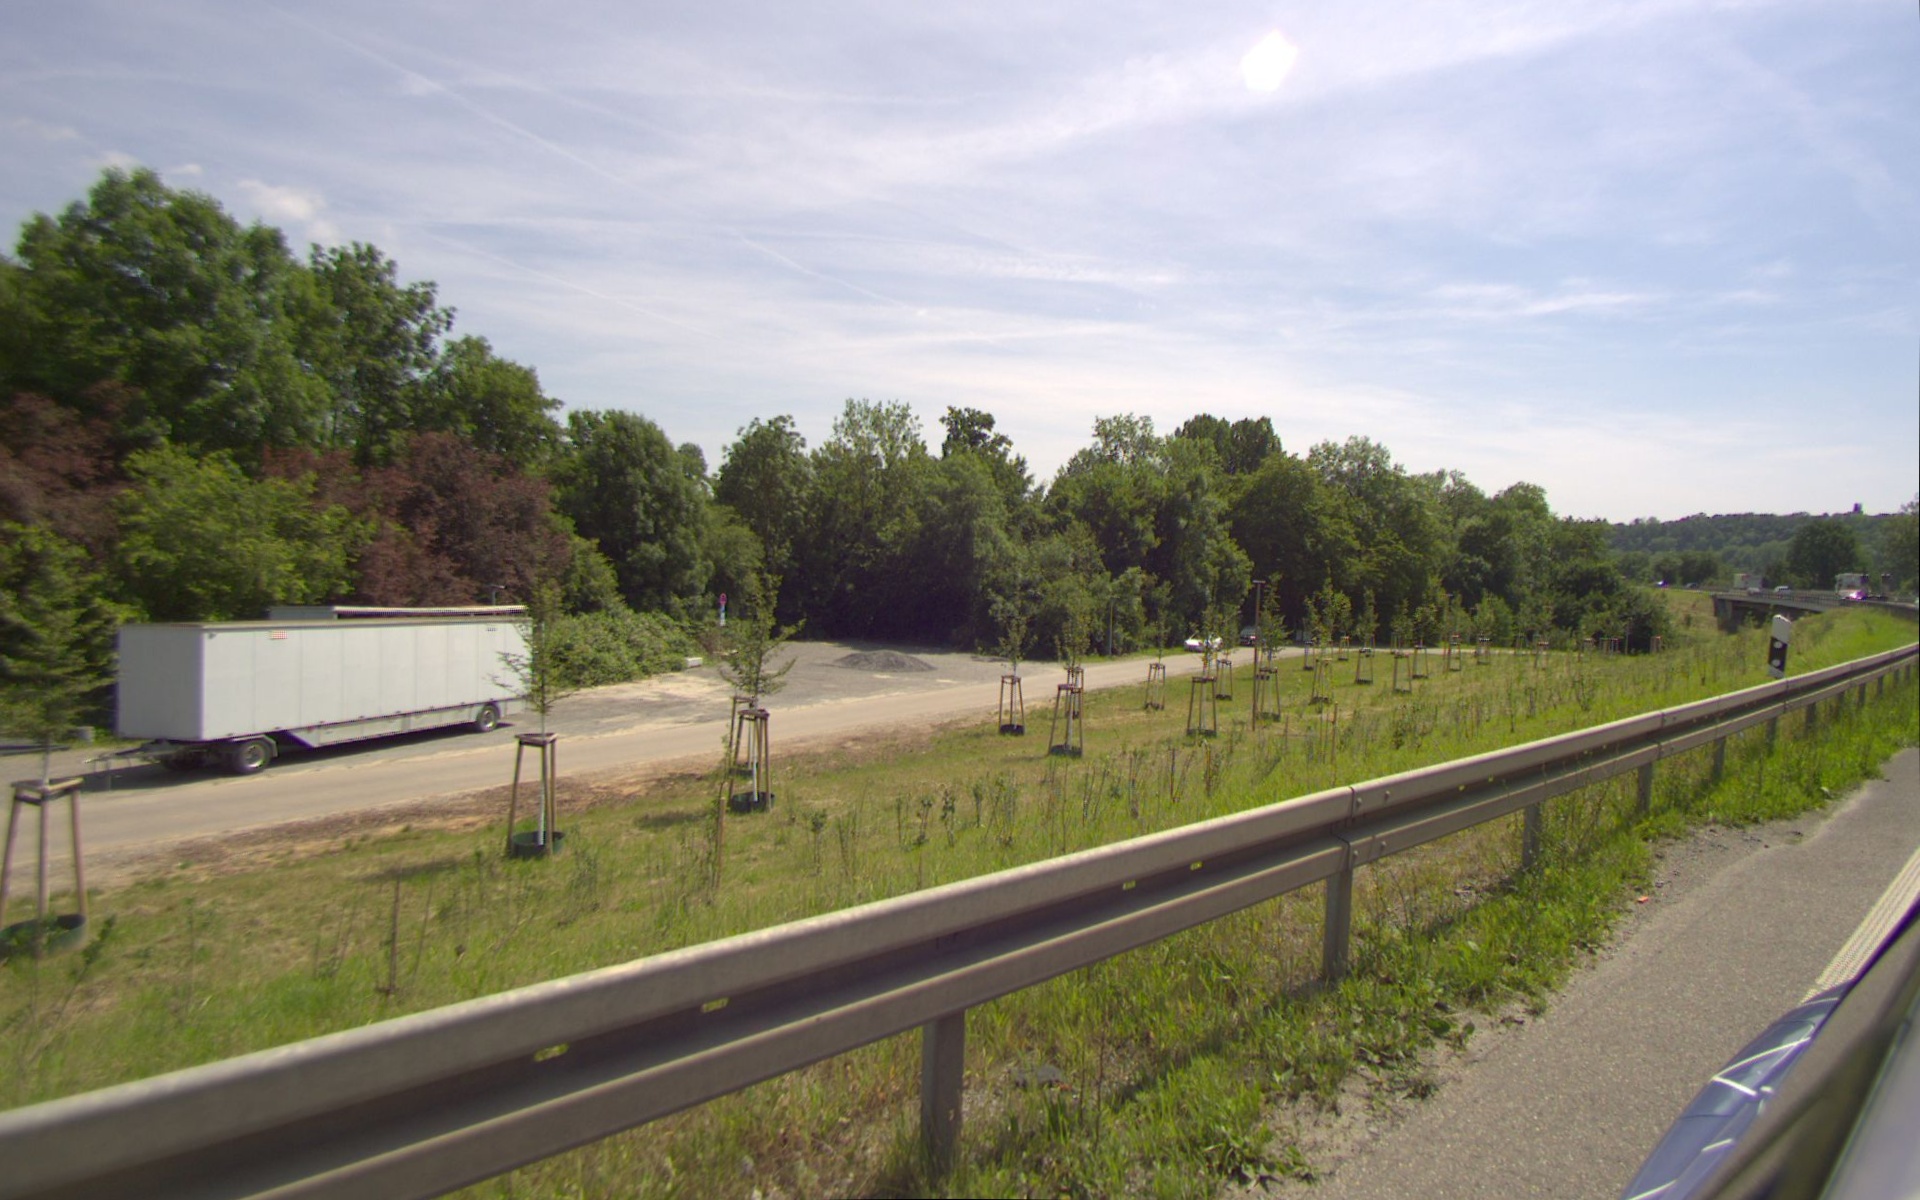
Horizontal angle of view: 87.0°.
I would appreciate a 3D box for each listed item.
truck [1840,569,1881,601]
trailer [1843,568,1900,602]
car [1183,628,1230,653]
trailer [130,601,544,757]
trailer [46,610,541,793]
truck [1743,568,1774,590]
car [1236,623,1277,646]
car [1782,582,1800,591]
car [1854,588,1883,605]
[{"bbox_3d":[116.974,-2.010,131.537,3.107,4.007,6.542,1,1,34],"label":"truck"},{"bbox_3d":[113.254,-1.911,125.947,3.107,4.029,15.171,1,1,34],"label":"trailer"},{"bbox_3d":[18.602,2.997,76.107,1.852,1.500,4.550,6,3,34],"label":"car"},{"bbox_3d":[-17.677,1.911,30.463,2.690,3.652,11.828,0,0,17],"label":"trailer"},{"bbox_3d":[-15.835,2.058,26.024,2.689,3.369,11.838,1,1,15],"label":"trailer"},{"bbox_3d":[147.765,-3.866,187.430,2.898,3.851,9.608,1,1,29],"label":"truck"},{"bbox_3d":[25.020,2.893,85.228,1.854,1.702,4.142,6,3,37],"label":"car"},{"bbox_3d":[137.666,-2.265,167.597,1.750,1.530,3.956,0,2,32],"label":"car"},{"bbox_3d":[100.902,-0.395,112.433,1.969,1.754,3.950,1,2,35],"label":"car"}]
